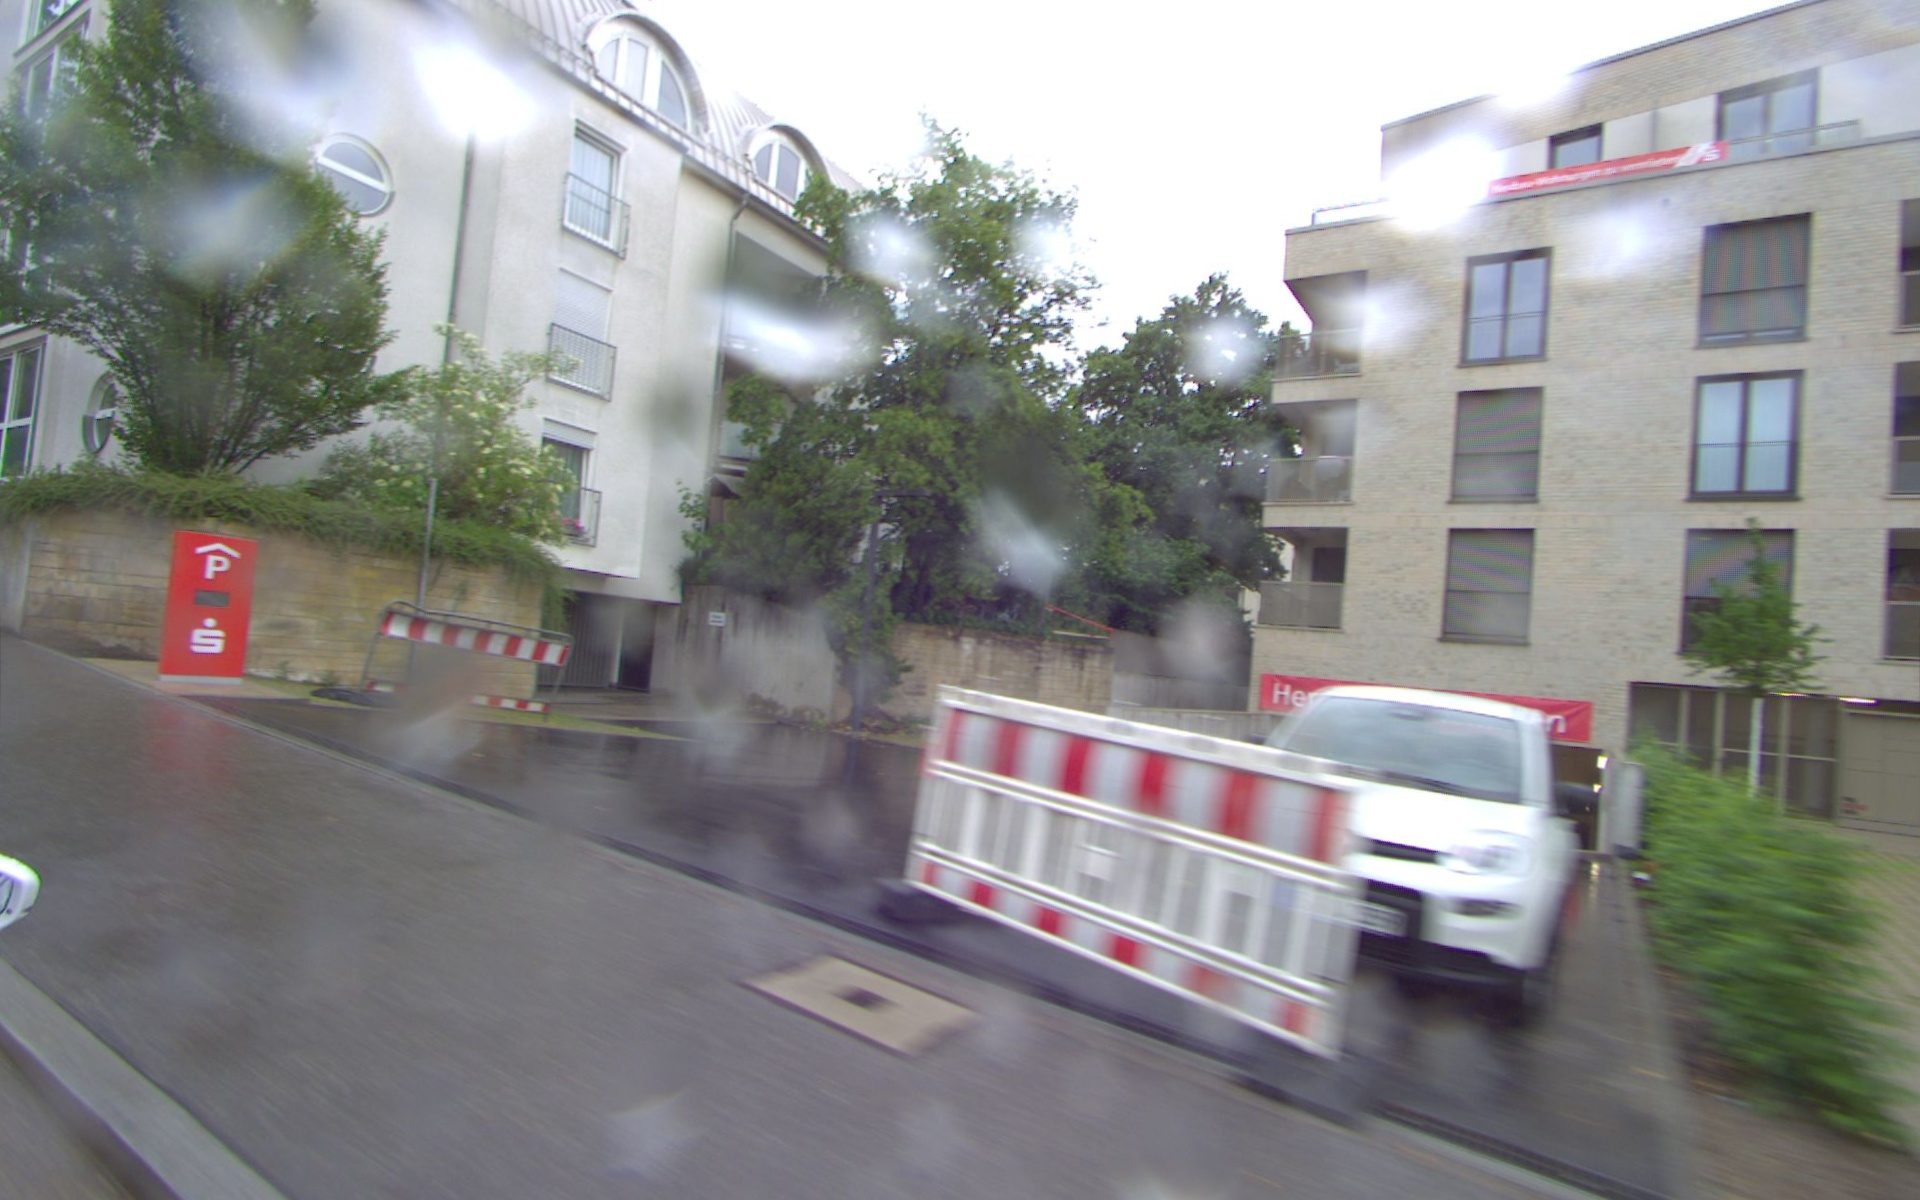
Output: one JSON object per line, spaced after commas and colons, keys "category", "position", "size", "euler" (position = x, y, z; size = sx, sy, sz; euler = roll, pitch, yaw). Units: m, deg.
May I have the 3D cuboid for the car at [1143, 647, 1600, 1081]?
{"category": "car", "position": [2.687, 1.305, 6.039], "size": [1.747, 1.519, 3.676], "euler": [7, -4, 32]}
